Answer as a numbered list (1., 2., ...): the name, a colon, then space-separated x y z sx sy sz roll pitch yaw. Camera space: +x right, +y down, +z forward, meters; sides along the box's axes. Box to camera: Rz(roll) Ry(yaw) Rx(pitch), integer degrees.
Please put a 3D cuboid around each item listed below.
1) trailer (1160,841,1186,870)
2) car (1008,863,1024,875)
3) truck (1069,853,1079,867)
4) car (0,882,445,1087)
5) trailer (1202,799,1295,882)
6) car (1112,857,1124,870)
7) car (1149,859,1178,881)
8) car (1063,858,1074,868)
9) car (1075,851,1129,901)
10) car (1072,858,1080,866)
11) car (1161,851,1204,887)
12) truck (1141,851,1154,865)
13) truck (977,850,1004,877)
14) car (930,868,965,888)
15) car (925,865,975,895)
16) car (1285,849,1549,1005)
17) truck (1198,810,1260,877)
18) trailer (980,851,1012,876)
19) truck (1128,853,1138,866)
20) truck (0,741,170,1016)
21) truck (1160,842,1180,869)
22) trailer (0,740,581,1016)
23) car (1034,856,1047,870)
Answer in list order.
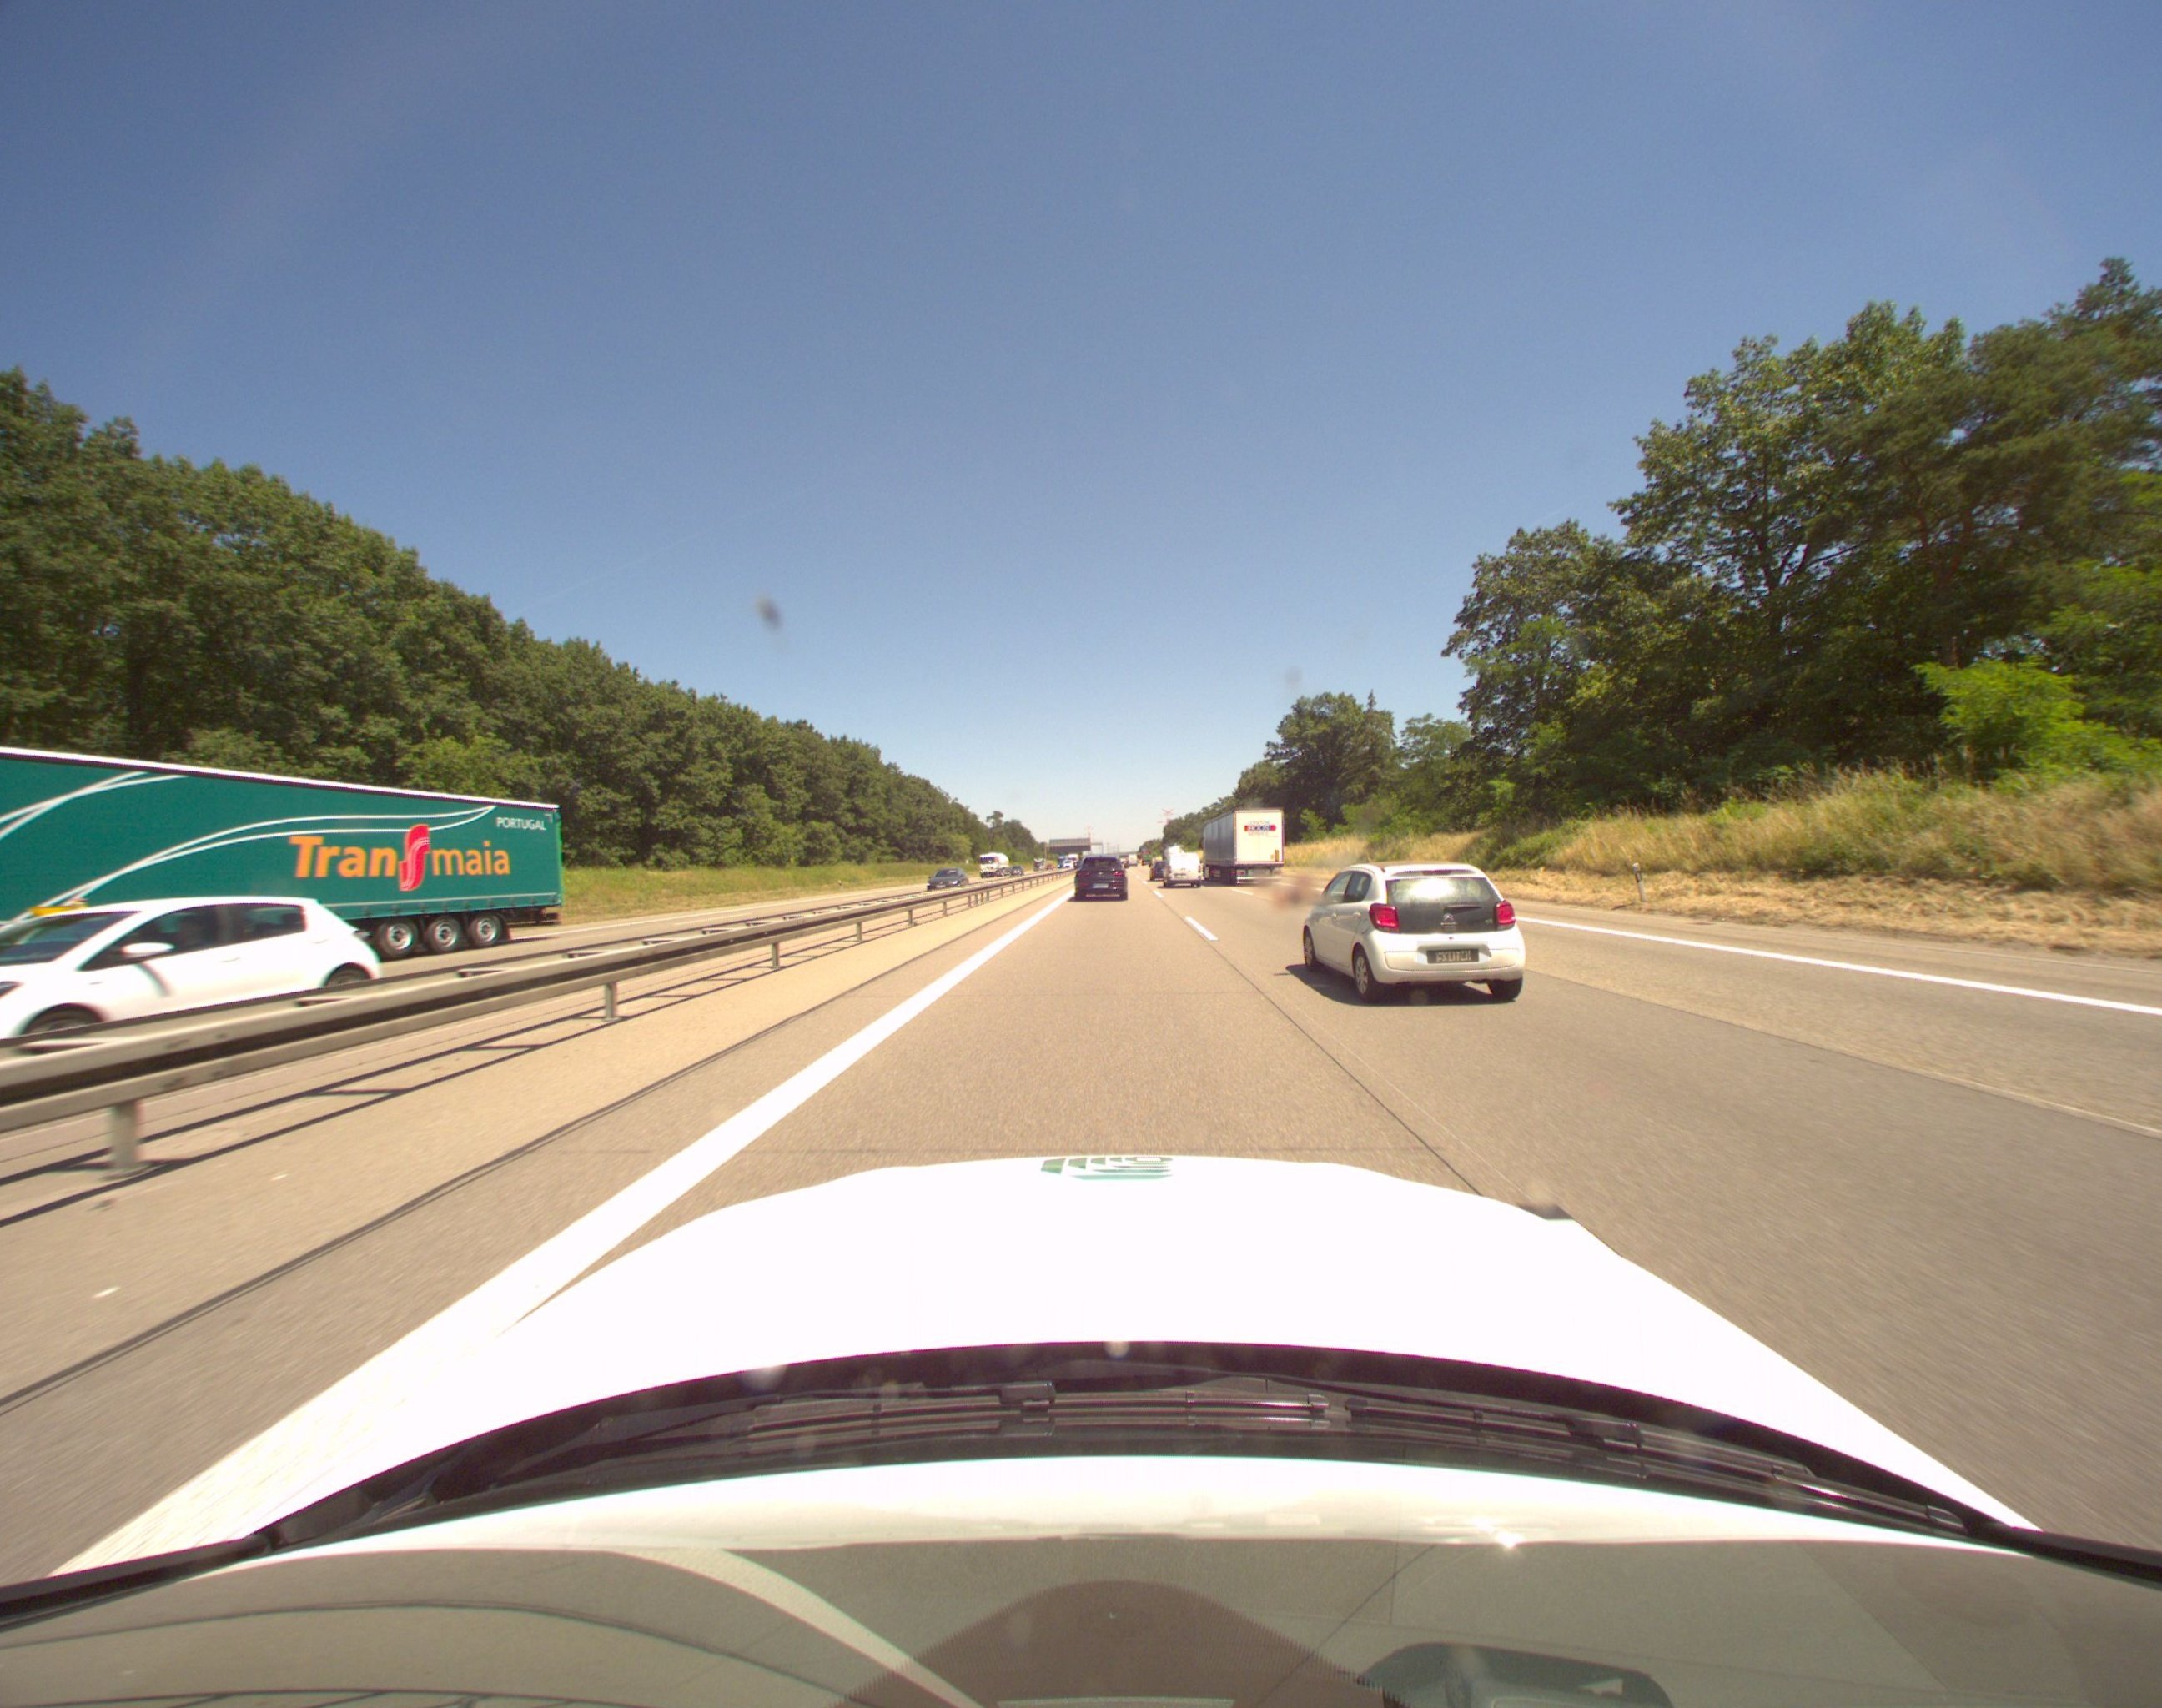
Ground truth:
1. trailer: 12.921 0.200 114.837 2.672 3.837 12.015 -1 -1 2
2. car: -8.780 2.032 110.547 1.626 1.473 3.939 -4 0 2
3. truck: -2.107 1.788 246.631 2.659 3.990 6.344 -4 -1 2
4. car: -9.343 1.171 8.444 1.649 1.500 4.603 -5 0 2
5. trailer: 9.603 -0.635 48.611 3.273 4.219 13.571 -1 -1 2
6. car: 5.402 1.353 118.313 1.620 1.755 3.807 -1 0 2
7. car: 5.857 1.146 58.295 1.768 1.472 3.874 -2 -1 2
8. car: -2.568 1.907 171.827 1.988 1.947 5.744 -4 0 2
9. car: 0.844 0.796 32.260 1.933 1.752 5.815 -1 0 2
10. car: -1.334 2.112 216.182 1.869 1.847 5.837 -4 0 2
11. car: 5.447 0.784 44.145 1.807 1.827 5.113 -2 -1 2
12. truck: 18.001 1.023 219.629 2.977 3.729 10.094 -1 -1 2
13. truck: -12.726 1.332 115.162 2.672 3.434 6.148 -4 0 2
14. car: -10.819 1.937 66.420 1.667 1.443 5.139 -4 0 2
15. car: -7.394 1.429 46.390 1.702 1.410 5.086 -5 -1 2
16. car: 3.786 0.719 9.967 1.701 1.495 4.026 -1 0 2
17. truck: 9.850 -0.620 54.830 3.273 4.219 6.010 -1 -1 2
18. trailer: -12.493 1.355 120.654 2.672 3.434 11.806 -4 0 2
19. truck: 11.968 1.203 188.715 2.052 2.914 7.006 -2 -1 2
20. truck: -17.683 0.452 11.258 2.690 4.161 6.300 -4 -1 2
21. truck: 13.142 0.233 120.539 2.672 3.837 4.446 -1 -1 2
22. trailer: -17.379 0.474 18.251 2.694 4.161 14.346 -4 0 2
23. car: -9.024 1.963 182.327 2.204 2.857 6.456 -4 0 2
